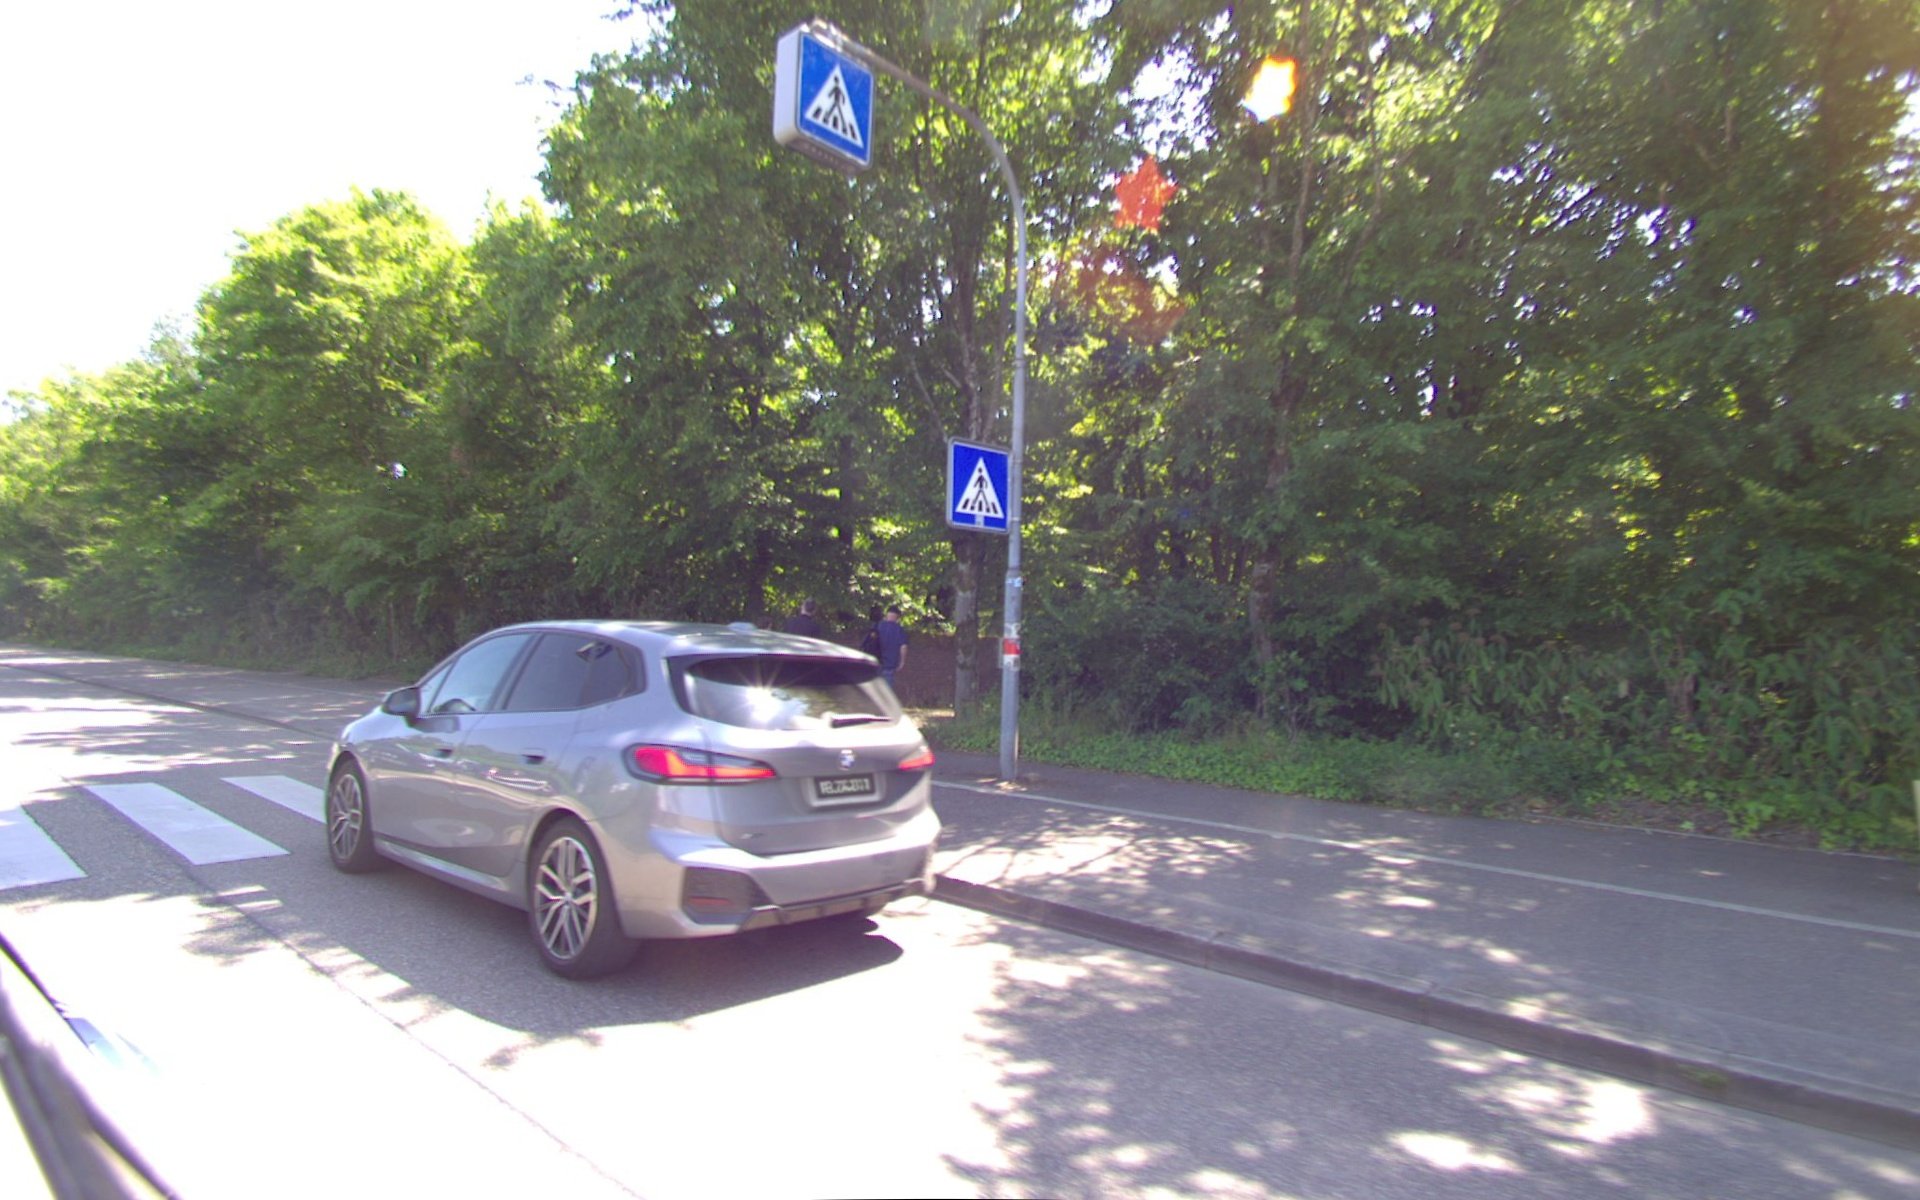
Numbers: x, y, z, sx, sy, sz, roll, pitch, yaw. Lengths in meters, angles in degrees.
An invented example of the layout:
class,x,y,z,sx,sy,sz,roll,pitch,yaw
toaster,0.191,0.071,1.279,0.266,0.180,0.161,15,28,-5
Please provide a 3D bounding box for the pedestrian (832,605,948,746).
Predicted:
class,x,y,z,sx,sy,sz,roll,pitch,yaw
pedestrian,-0.928,0.972,13.446,1.022,1.765,1.144,-3,-3,38

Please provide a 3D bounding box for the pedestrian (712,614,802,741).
class,x,y,z,sx,sy,sz,roll,pitch,yaw
pedestrian,-2.698,0.993,13.464,0.779,1.623,0.886,-1,-1,34

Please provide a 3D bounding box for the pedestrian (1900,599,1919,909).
class,x,y,z,sx,sy,sz,roll,pitch,yaw
pedestrian,5.657,0.813,5.396,0.885,1.625,0.922,-1,-2,41

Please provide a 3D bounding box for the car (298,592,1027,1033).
class,x,y,z,sx,sy,sz,roll,pitch,yaw
car,-1.884,0.863,5.677,4.194,1.544,1.871,-1,-7,41

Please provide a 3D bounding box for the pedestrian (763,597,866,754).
class,x,y,z,sx,sy,sz,roll,pitch,yaw
pedestrian,-1.828,0.909,12.775,0.782,1.878,1.074,-1,-1,34
